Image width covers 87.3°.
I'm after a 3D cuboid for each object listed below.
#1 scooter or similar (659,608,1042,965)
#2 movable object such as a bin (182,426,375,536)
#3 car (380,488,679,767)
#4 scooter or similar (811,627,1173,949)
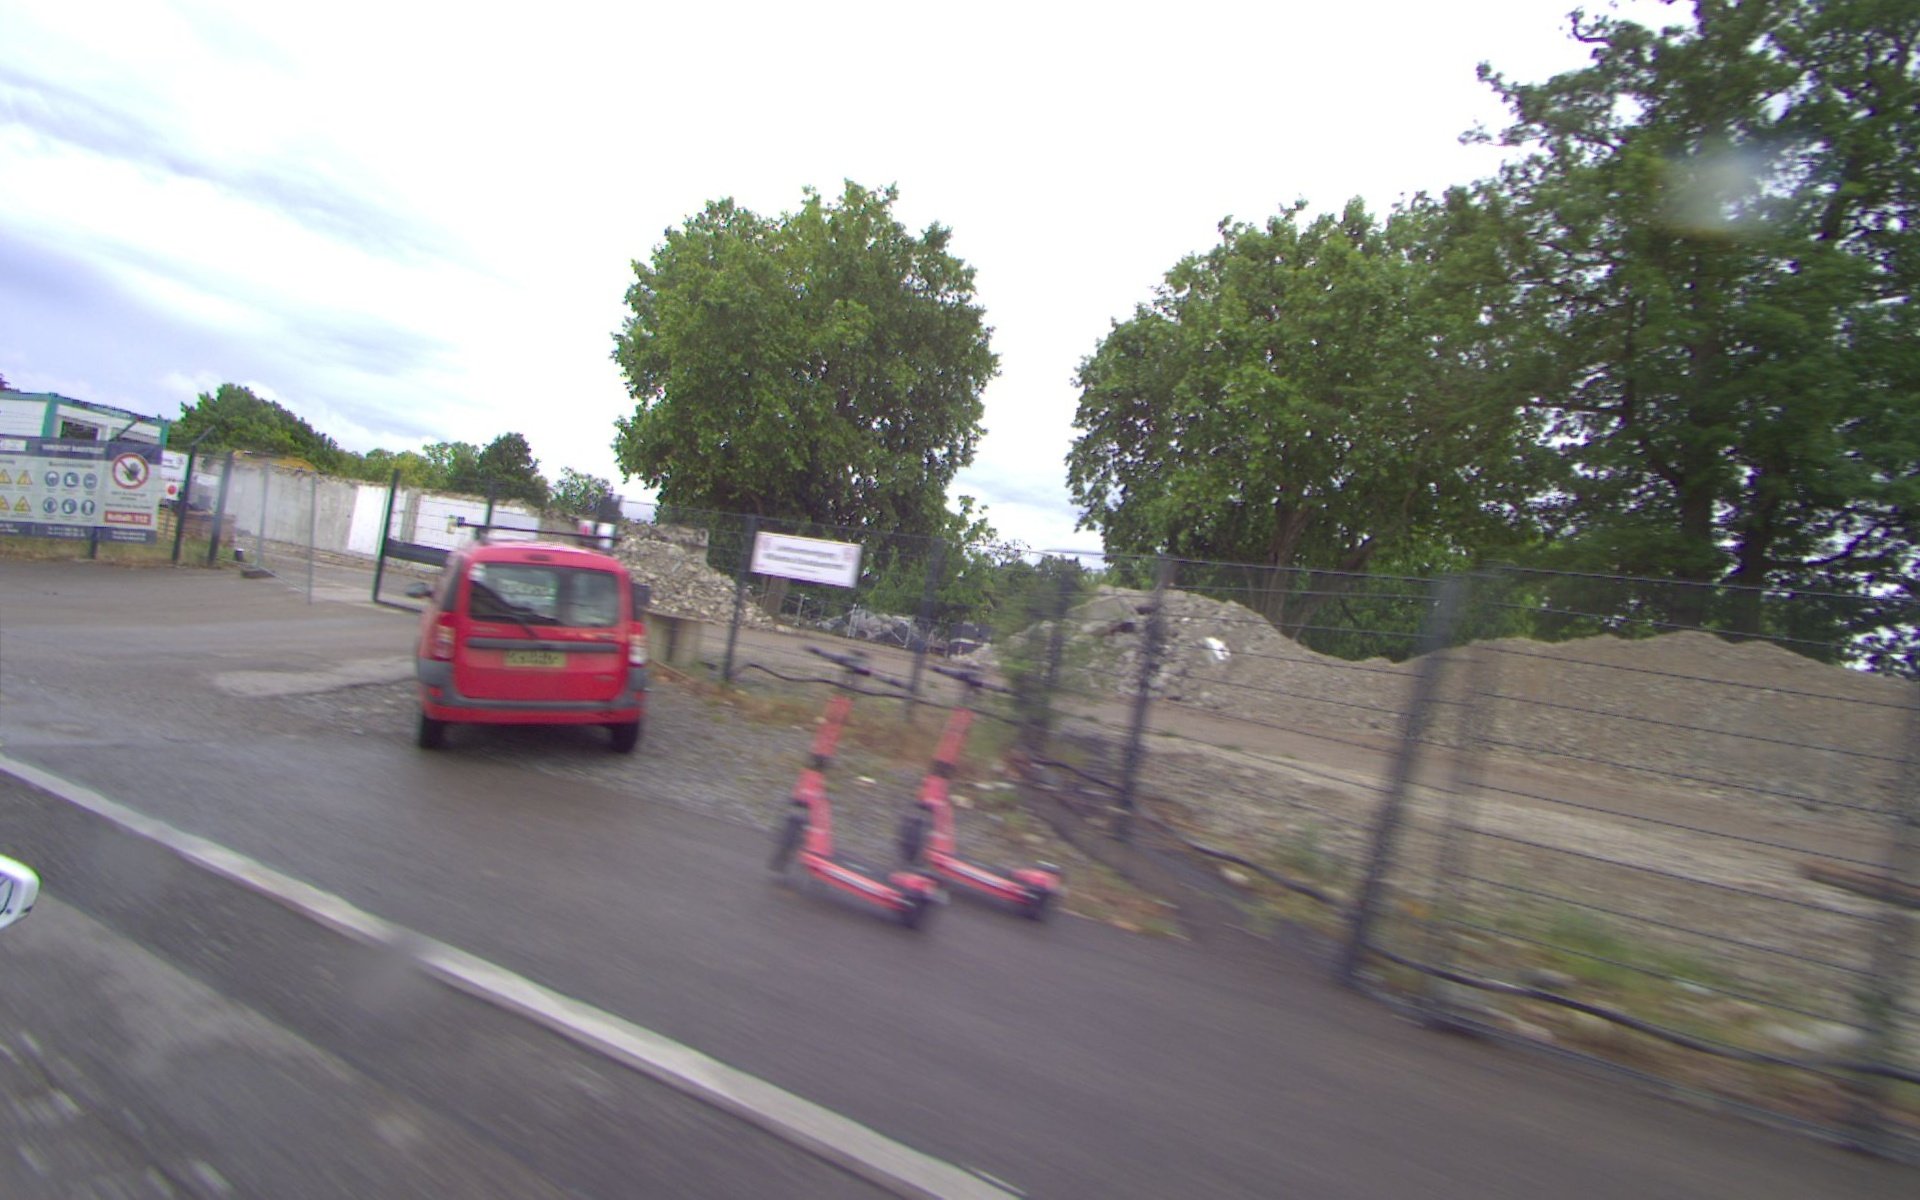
[{"bbox_3d":[-0.622,0.848,5.173,1.883,1.367,0.615,7,-1,37],"label":"scooter or similar"},{"bbox_3d":[-51.812,-8.889,76.985,3.439,6.065,11.234,7,-2,38],"label":"movable object such as a bin"},{"bbox_3d":[-4.106,0.178,9.267,1.806,1.814,4.378,9,-2,-28],"label":"car"},{"bbox_3d":[0.126,0.966,5.709,1.883,1.367,0.615,7,-1,37],"label":"scooter or similar"}]
